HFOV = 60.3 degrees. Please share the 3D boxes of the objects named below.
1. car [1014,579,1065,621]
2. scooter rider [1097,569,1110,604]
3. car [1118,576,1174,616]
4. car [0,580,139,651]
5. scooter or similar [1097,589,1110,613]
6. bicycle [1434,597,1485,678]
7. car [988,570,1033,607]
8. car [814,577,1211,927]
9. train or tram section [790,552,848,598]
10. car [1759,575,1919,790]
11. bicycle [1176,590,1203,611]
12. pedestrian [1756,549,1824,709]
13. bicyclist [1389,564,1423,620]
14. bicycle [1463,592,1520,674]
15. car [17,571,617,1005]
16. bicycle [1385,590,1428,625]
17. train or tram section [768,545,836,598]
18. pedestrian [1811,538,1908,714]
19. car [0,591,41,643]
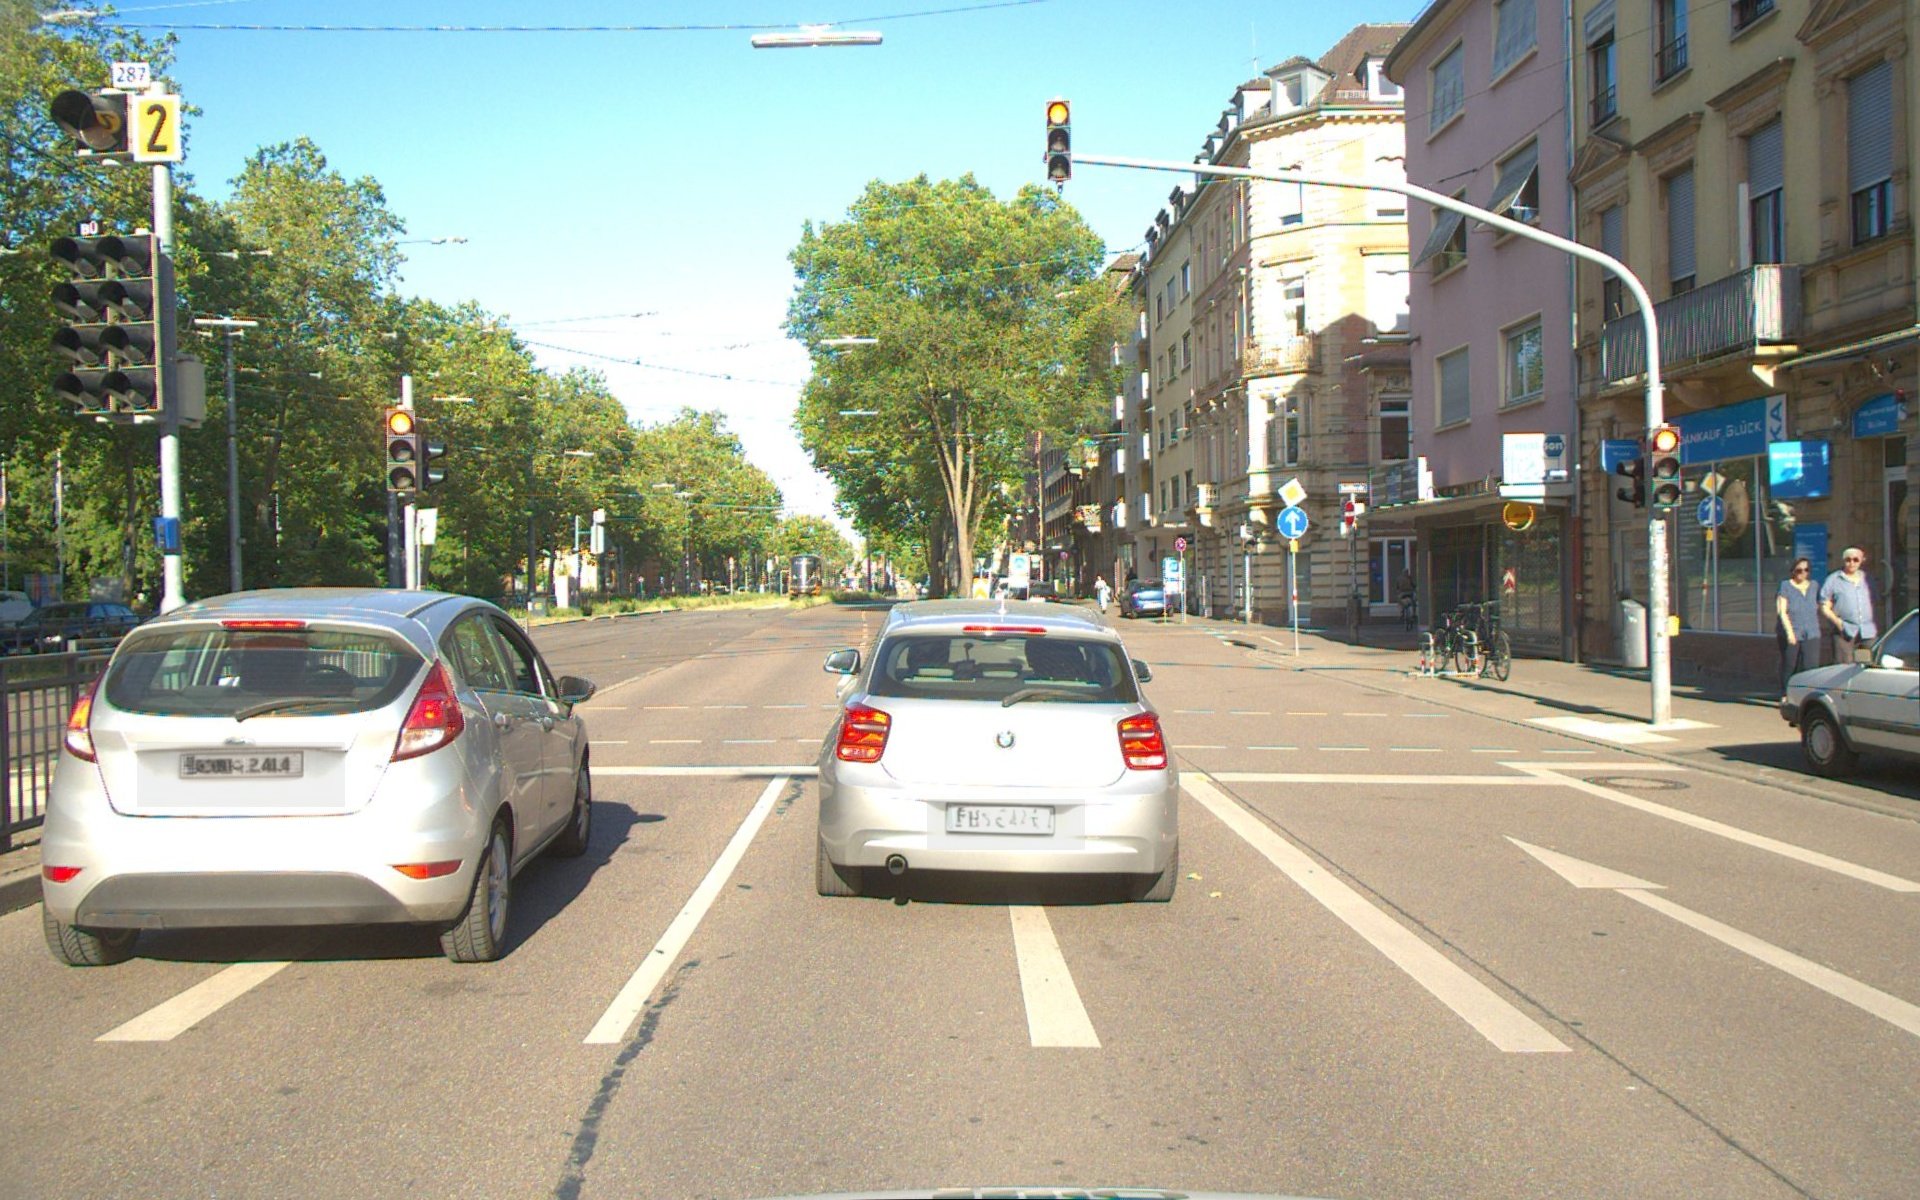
[{"bbox_3d":[2.854,-0.038,59.897,1.700,1.458,3.678,0,1,1],"label":"car"},{"bbox_3d":[6.343,-0.594,73.118,0.455,1.531,0.811,-1,0,11],"label":"scooter rider"},{"bbox_3d":[7.371,-0.192,65.801,1.700,1.546,3.635,0,1,-2],"label":"car"},{"bbox_3d":[-20.656,0.312,37.970,1.650,1.525,4.340,-1,1,-4],"label":"car"},{"bbox_3d":[6.356,0.043,73.210,0.330,1.005,1.285,0,1,17],"label":"scooter or similar"},{"bbox_3d":[7.584,0.549,25.153,0.405,1.160,1.811,0,1,6],"label":"bicycle"},{"bbox_3d":[2.128,-0.486,70.911,1.690,1.533,3.554,0,1,-2],"label":"car"},{"bbox_3d":[0.198,0.634,9.178,1.705,1.493,3.999,1,1,-1],"label":"car"},{"bbox_3d":[-12.539,-2.247,148.930,3.924,3.933,17.486,0,1,-1],"label":"train or tram section"},{"bbox_3d":[7.595,0.583,12.009,1.531,1.440,4.003,-4,1,-1],"label":"car"},{"bbox_3d":[9.170,0.021,66.115,0.739,0.784,1.944,0,1,-2],"label":"bicycle"},{"bbox_3d":[9.137,0.314,18.218,0.538,1.738,0.388,-1,1,2],"label":"pedestrian"},{"bbox_3d":[12.288,-0.225,45.603,0.538,1.528,0.956,0,1,40],"label":"bicyclist"},{"bbox_3d":[8.073,0.482,25.156,0.439,1.179,1.759,-1,1,5],"label":"bicycle"},{"bbox_3d":[-2.647,0.624,7.759,1.578,1.493,3.886,-1,1,-5],"label":"car"},{"bbox_3d":[12.330,0.201,45.634,0.642,0.919,1.331,0,1,41],"label":"bicycle"},{"bbox_3d":[-12.401,-2.232,131.509,3.888,3.933,17.486,0,1,-1],"label":"train or tram section"},{"bbox_3d":[9.770,0.274,17.974,0.659,1.837,0.530,-4,1,-1],"label":"pedestrian"},{"bbox_3d":[-29.393,0.514,49.453,1.636,1.536,4.143,0,1,-2],"label":"car"}]
